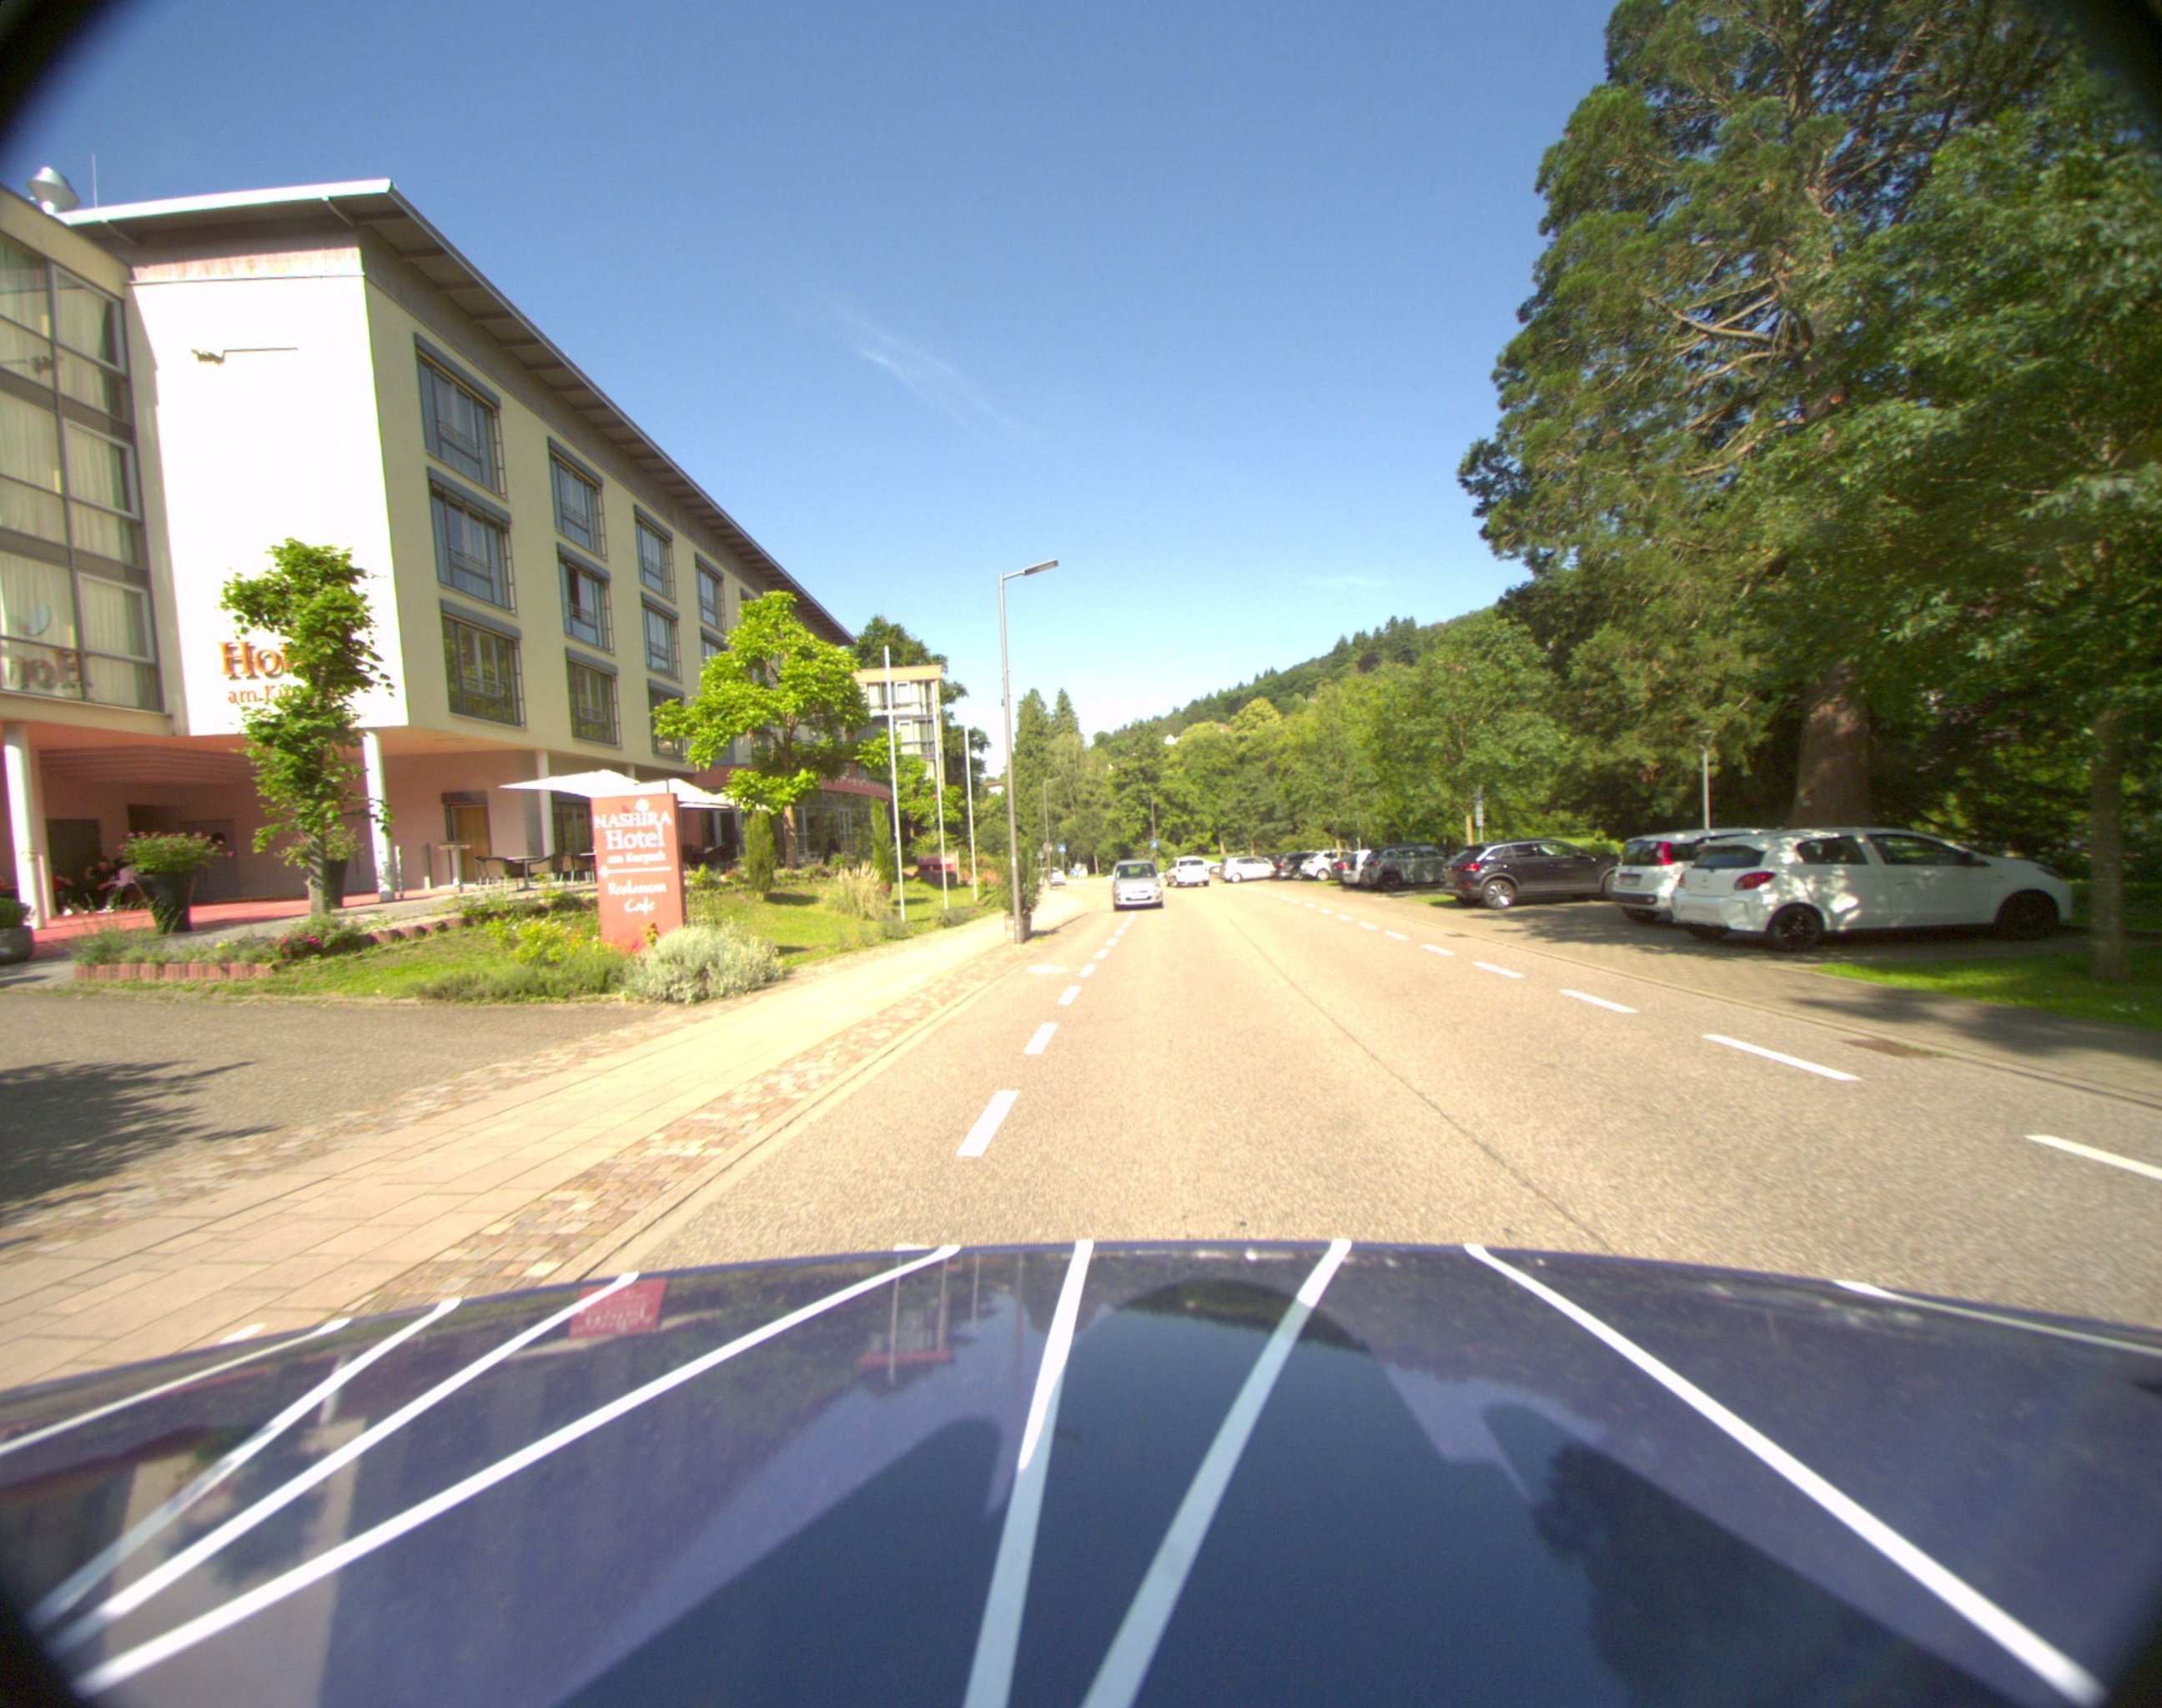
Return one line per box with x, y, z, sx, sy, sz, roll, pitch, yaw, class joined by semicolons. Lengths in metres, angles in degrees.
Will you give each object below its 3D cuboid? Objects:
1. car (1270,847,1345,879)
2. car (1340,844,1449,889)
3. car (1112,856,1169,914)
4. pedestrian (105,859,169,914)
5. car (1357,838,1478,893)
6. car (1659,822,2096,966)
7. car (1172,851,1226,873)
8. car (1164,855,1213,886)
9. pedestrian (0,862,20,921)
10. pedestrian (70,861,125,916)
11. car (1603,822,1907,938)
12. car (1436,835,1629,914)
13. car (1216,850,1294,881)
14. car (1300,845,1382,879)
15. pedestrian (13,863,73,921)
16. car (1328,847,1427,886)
12.046;0.455;40.577;3.489;1.417;1.554;-5;0;6;car
11.954;0.463;29.125;3.489;1.417;1.554;-5;0;6;car
1.928;0.965;25.584;1.604;1.628;4.000;-4;0;1;car
-21.575;0.734;17.375;0.621;1.209;0.610;-2;1;-14;pedestrian
11.601;0.381;26.322;3.489;1.611;1.380;-5;0;6;car
9.966;0.484;9.774;3.685;1.478;1.566;-4;0;6;car
9.501;0.669;61.284;4.002;1.468;1.514;-4;0;-18;car
5.758;0.856;41.062;1.775;1.495;3.999;-2;0;-4;car
-22.601;0.791;15.748;0.609;1.209;0.622;-1;1;40;pedestrian
-22.615;0.773;17.487;0.611;1.209;0.619;-3;1;-40;pedestrian
10.774;0.404;12.342;3.489;1.543;1.380;-4;0;6;car
10.376;0.465;17.636;3.489;1.536;1.444;-4;0;6;car
10.025;0.669;43.858;3.998;1.389;1.516;-5;0;-4;car
12.867;0.392;37.737;3.489;1.417;1.554;-5;0;6;car
-22.794;0.824;16.699;0.523;1.209;0.528;-2;1;-16;pedestrian
12.328;0.505;31.748;3.489;1.293;1.554;-5;0;6;car
